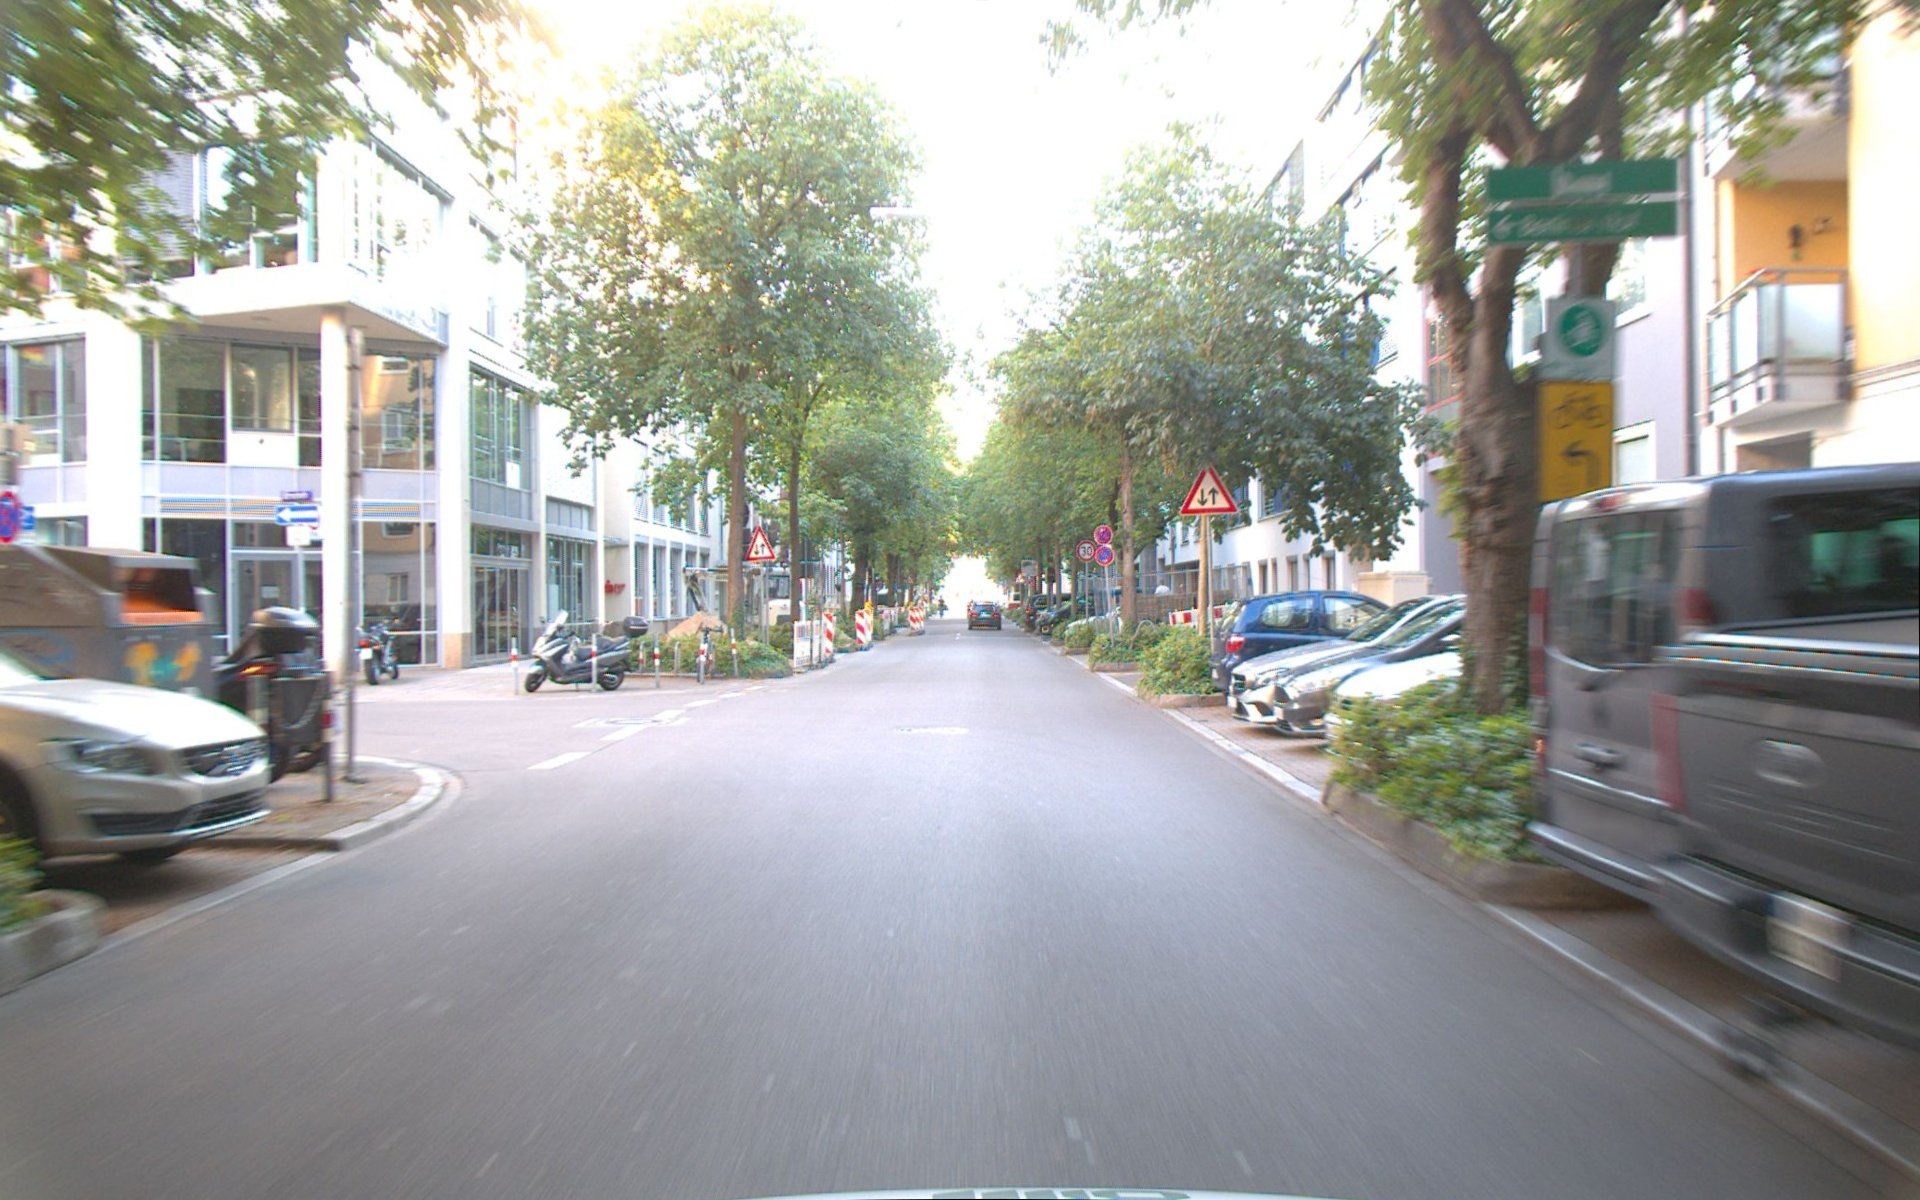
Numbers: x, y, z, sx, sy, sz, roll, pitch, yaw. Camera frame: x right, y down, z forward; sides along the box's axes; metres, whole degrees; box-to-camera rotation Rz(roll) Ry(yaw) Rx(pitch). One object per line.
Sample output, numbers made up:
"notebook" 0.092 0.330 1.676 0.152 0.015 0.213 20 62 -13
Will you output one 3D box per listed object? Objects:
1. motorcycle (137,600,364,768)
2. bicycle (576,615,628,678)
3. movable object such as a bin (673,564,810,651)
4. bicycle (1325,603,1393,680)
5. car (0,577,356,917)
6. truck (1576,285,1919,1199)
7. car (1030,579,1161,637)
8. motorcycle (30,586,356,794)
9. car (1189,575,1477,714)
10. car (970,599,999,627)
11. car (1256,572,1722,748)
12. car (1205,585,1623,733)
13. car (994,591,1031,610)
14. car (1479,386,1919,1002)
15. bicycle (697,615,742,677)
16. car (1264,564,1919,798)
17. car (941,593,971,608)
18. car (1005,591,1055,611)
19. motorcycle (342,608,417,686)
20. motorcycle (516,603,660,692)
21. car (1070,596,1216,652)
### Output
"motorcycle" -6.304 0.713 14.654 2.176 1.398 0.722 -1 0 31
"bicycle" -6.971 0.893 32.247 0.588 1.137 1.800 -1 1 0
"movable object such as a bin" -6.190 0.208 47.304 3.591 2.373 2.583 -1 0 -1
"bicycle" 6.672 0.675 27.750 0.711 1.192 1.500 -5 0 1
"car" -5.885 0.673 8.982 4.405 1.609 2.055 1 0 1
"truck" 5.035 0.171 4.320 5.882 2.169 2.261 -5 0 0
"car" 5.190 0.295 63.748 4.869 2.124 1.738 -1 0 0
"motorcycle" -5.846 0.672 12.672 2.171 1.520 0.691 -1 0 2
"car" 4.735 0.549 21.326 3.282 1.552 1.746 -3 0 1
"car" 1.312 0.705 89.088 1.469 1.441 3.713 -1 0 0
"car" 5.093 0.554 16.307 3.985 1.590 1.853 -1 0 -2
"car" 5.085 0.625 18.803 4.199 1.534 1.869 -1 0 -8
"car" 5.670 0.073 179.146 3.904 2.049 2.001 -1 0 2
"car" 4.852 0.198 7.035 4.526 2.170 2.036 -5 0 0
"bicycle" -4.740 0.887 32.727 0.588 1.137 1.800 -1 1 0
"car" 5.027 0.613 13.568 4.699 1.734 1.836 -1 0 -2
"car" -0.543 0.036 220.717 3.912 1.948 1.774 -1 0 -8
"car" 5.693 0.078 135.057 3.907 1.625 1.999 -1 0 -3
"motorcycle" -10.477 0.833 29.942 0.601 1.296 2.126 -1 1 0
"motorcycle" -6.452 0.799 28.790 2.357 1.466 0.790 -1 0 -40
"car" 5.603 0.722 50.972 4.344 1.619 1.629 -1 0 2
